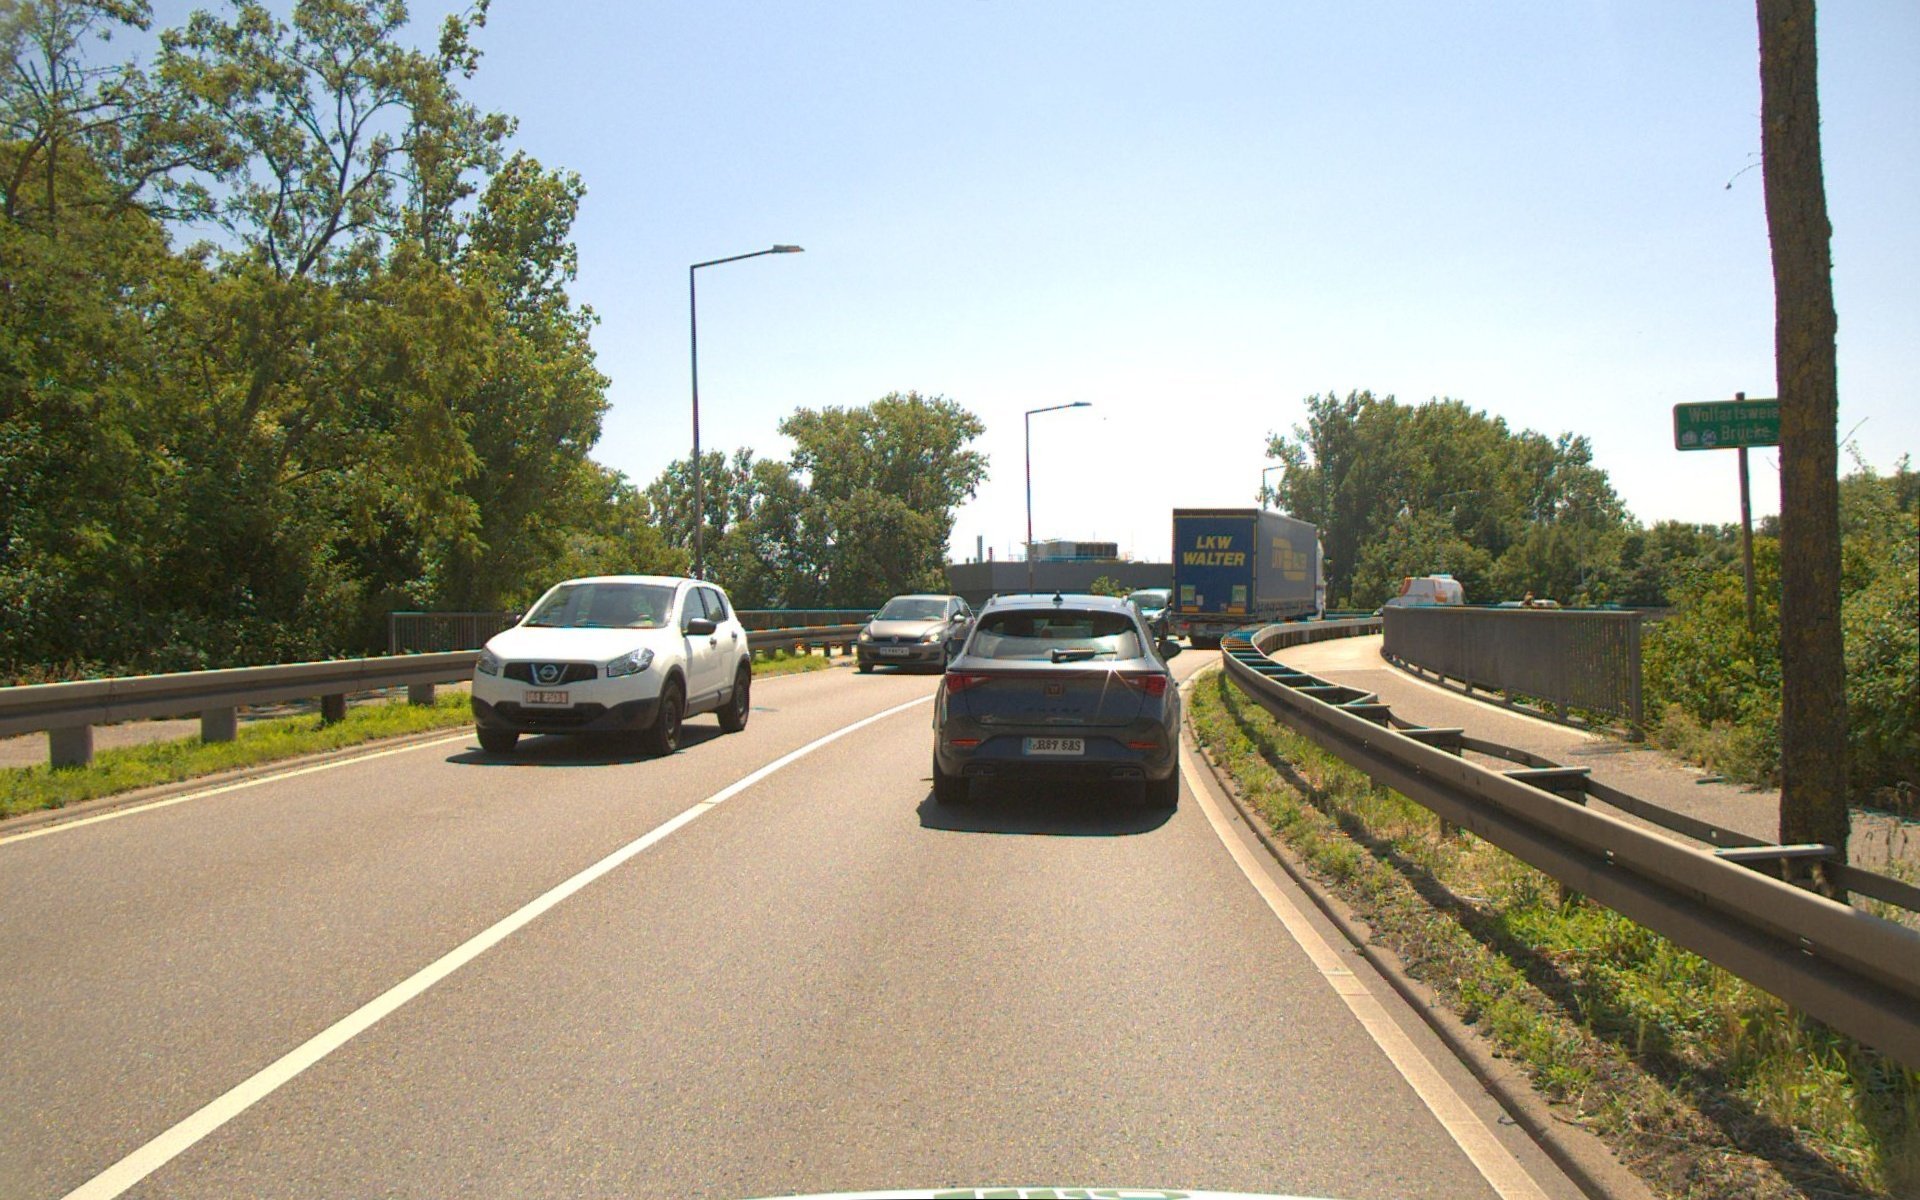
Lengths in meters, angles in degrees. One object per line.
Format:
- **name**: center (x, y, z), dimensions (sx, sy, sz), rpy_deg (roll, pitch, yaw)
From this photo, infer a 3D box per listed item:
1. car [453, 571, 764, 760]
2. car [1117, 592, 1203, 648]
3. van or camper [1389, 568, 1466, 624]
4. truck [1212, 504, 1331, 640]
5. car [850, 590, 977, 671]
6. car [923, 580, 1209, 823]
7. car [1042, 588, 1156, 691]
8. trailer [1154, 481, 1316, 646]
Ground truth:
- **car**: center (-3.226, 0.542, 16.123), dimensions (1.709, 1.573, 4.396), rpy_deg (1, 0, 5)
- **car**: center (7.099, 0.686, 58.319), dimensions (1.722, 1.887, 4.271), rpy_deg (1, 0, 26)
- **van or camper**: center (23.857, -0.220, 84.255), dimensions (2.164, 2.758, 5.909), rpy_deg (0, 0, 33)
- **truck**: center (11.548, -0.924, 60.688), dimensions (3.104, 4.665, 7.398), rpy_deg (1, -1, 20)
- **car**: center (-0.821, 0.537, 32.046), dimensions (1.679, 1.452, 4.111), rpy_deg (0, 0, 10)
- **car**: center (0.738, 0.633, 12.413), dimensions (1.807, 1.525, 3.759), rpy_deg (1, 0, 2)
- **car**: center (2.275, 0.590, 26.395), dimensions (1.559, 1.486, 3.547), rpy_deg (2, 0, 8)
- **trailer**: center (9.245, -1.033, 53.935), dimensions (3.069, 4.694, 12.952), rpy_deg (1, 0, 19)
